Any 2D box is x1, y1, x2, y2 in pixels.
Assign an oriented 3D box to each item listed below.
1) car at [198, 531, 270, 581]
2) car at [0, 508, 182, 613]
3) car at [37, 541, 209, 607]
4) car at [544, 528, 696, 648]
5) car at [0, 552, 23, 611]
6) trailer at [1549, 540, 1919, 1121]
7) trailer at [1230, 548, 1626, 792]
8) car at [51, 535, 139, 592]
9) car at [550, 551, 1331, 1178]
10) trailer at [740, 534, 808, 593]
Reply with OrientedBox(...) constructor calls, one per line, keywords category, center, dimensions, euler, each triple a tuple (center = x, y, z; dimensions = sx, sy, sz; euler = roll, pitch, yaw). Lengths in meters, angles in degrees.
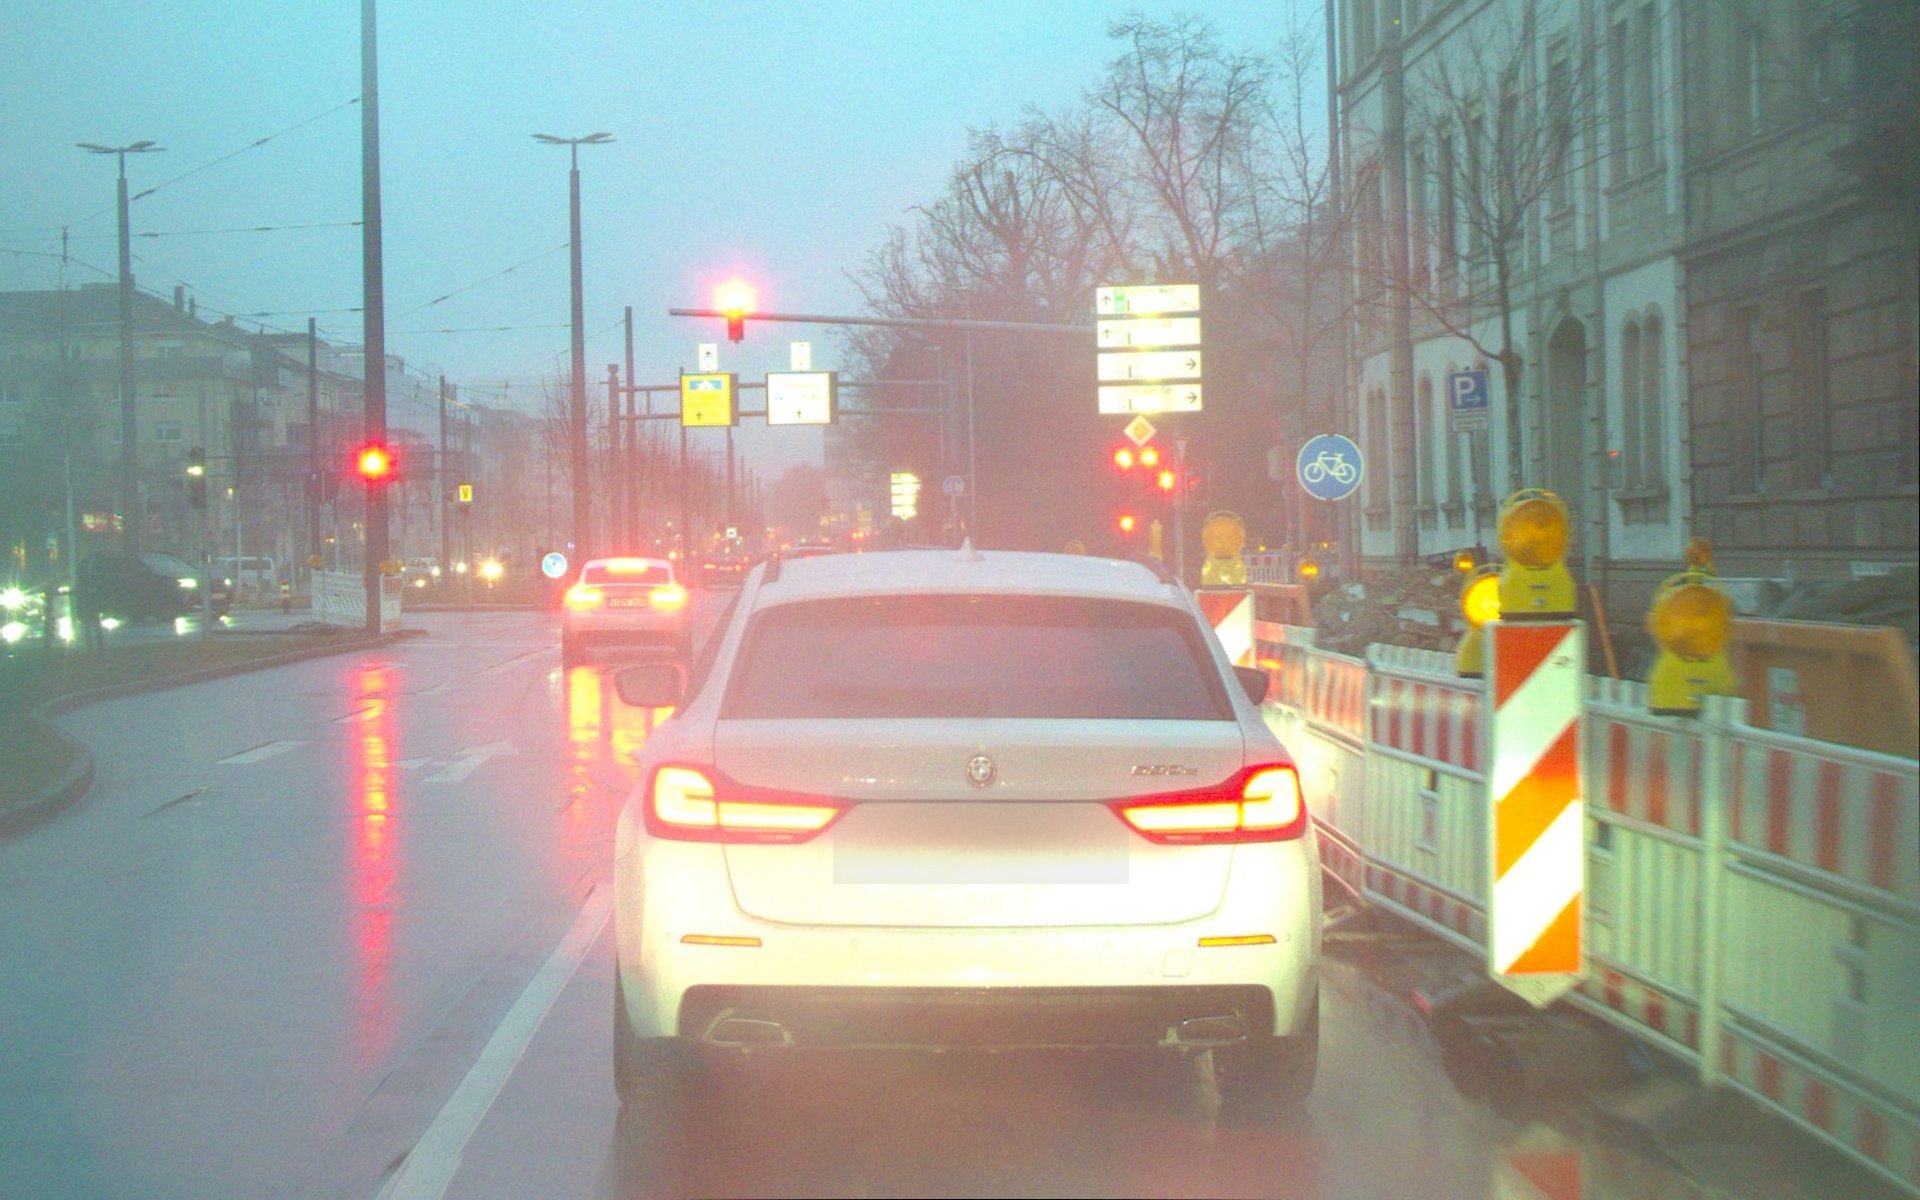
OrientedBox(category="car", center=(-24.570, -1.499, 116.363), dimensions=(1.560, 1.653, 3.395), euler=(0, 1, 3))
OrientedBox(category="car", center=(-17.049, -0.764, 65.810), dimensions=(3.986, 1.968, 2.001), euler=(0, 1, -20))
OrientedBox(category="car", center=(-19.604, -0.624, 80.584), dimensions=(3.534, 1.487, 1.743), euler=(1, 1, 17))
OrientedBox(category="car", center=(-4.809, -0.204, 49.079), dimensions=(1.901, 1.636, 4.001), euler=(0, 1, -2))
OrientedBox(category="car", center=(-25.456, -0.491, 87.518), dimensions=(1.740, 1.487, 3.541), euler=(-1, 1, -41))
OrientedBox(category="trailer", center=(3.347, 0.564, 11.251), dimensions=(1.835, 1.485, 4.848), euler=(-1, 1, -2))
OrientedBox(category="trailer", center=(2.809, 0.371, 21.376), dimensions=(1.850, 1.341, 3.529), euler=(-1, 1, -2))
OrientedBox(category="car", center=(-25.215, -1.084, 100.292), dimensions=(1.857, 1.634, 4.033), euler=(0, 1, -5))
OrientedBox(category="car", center=(-0.159, 0.595, 10.643), dimensions=(1.852, 1.460, 4.947), euler=(0, 1, -3))
OrientedBox(category="trailer", center=(-5.351, -1.061, 98.505), dimensions=(1.834, 1.637, 4.001), euler=(0, 1, -4))
